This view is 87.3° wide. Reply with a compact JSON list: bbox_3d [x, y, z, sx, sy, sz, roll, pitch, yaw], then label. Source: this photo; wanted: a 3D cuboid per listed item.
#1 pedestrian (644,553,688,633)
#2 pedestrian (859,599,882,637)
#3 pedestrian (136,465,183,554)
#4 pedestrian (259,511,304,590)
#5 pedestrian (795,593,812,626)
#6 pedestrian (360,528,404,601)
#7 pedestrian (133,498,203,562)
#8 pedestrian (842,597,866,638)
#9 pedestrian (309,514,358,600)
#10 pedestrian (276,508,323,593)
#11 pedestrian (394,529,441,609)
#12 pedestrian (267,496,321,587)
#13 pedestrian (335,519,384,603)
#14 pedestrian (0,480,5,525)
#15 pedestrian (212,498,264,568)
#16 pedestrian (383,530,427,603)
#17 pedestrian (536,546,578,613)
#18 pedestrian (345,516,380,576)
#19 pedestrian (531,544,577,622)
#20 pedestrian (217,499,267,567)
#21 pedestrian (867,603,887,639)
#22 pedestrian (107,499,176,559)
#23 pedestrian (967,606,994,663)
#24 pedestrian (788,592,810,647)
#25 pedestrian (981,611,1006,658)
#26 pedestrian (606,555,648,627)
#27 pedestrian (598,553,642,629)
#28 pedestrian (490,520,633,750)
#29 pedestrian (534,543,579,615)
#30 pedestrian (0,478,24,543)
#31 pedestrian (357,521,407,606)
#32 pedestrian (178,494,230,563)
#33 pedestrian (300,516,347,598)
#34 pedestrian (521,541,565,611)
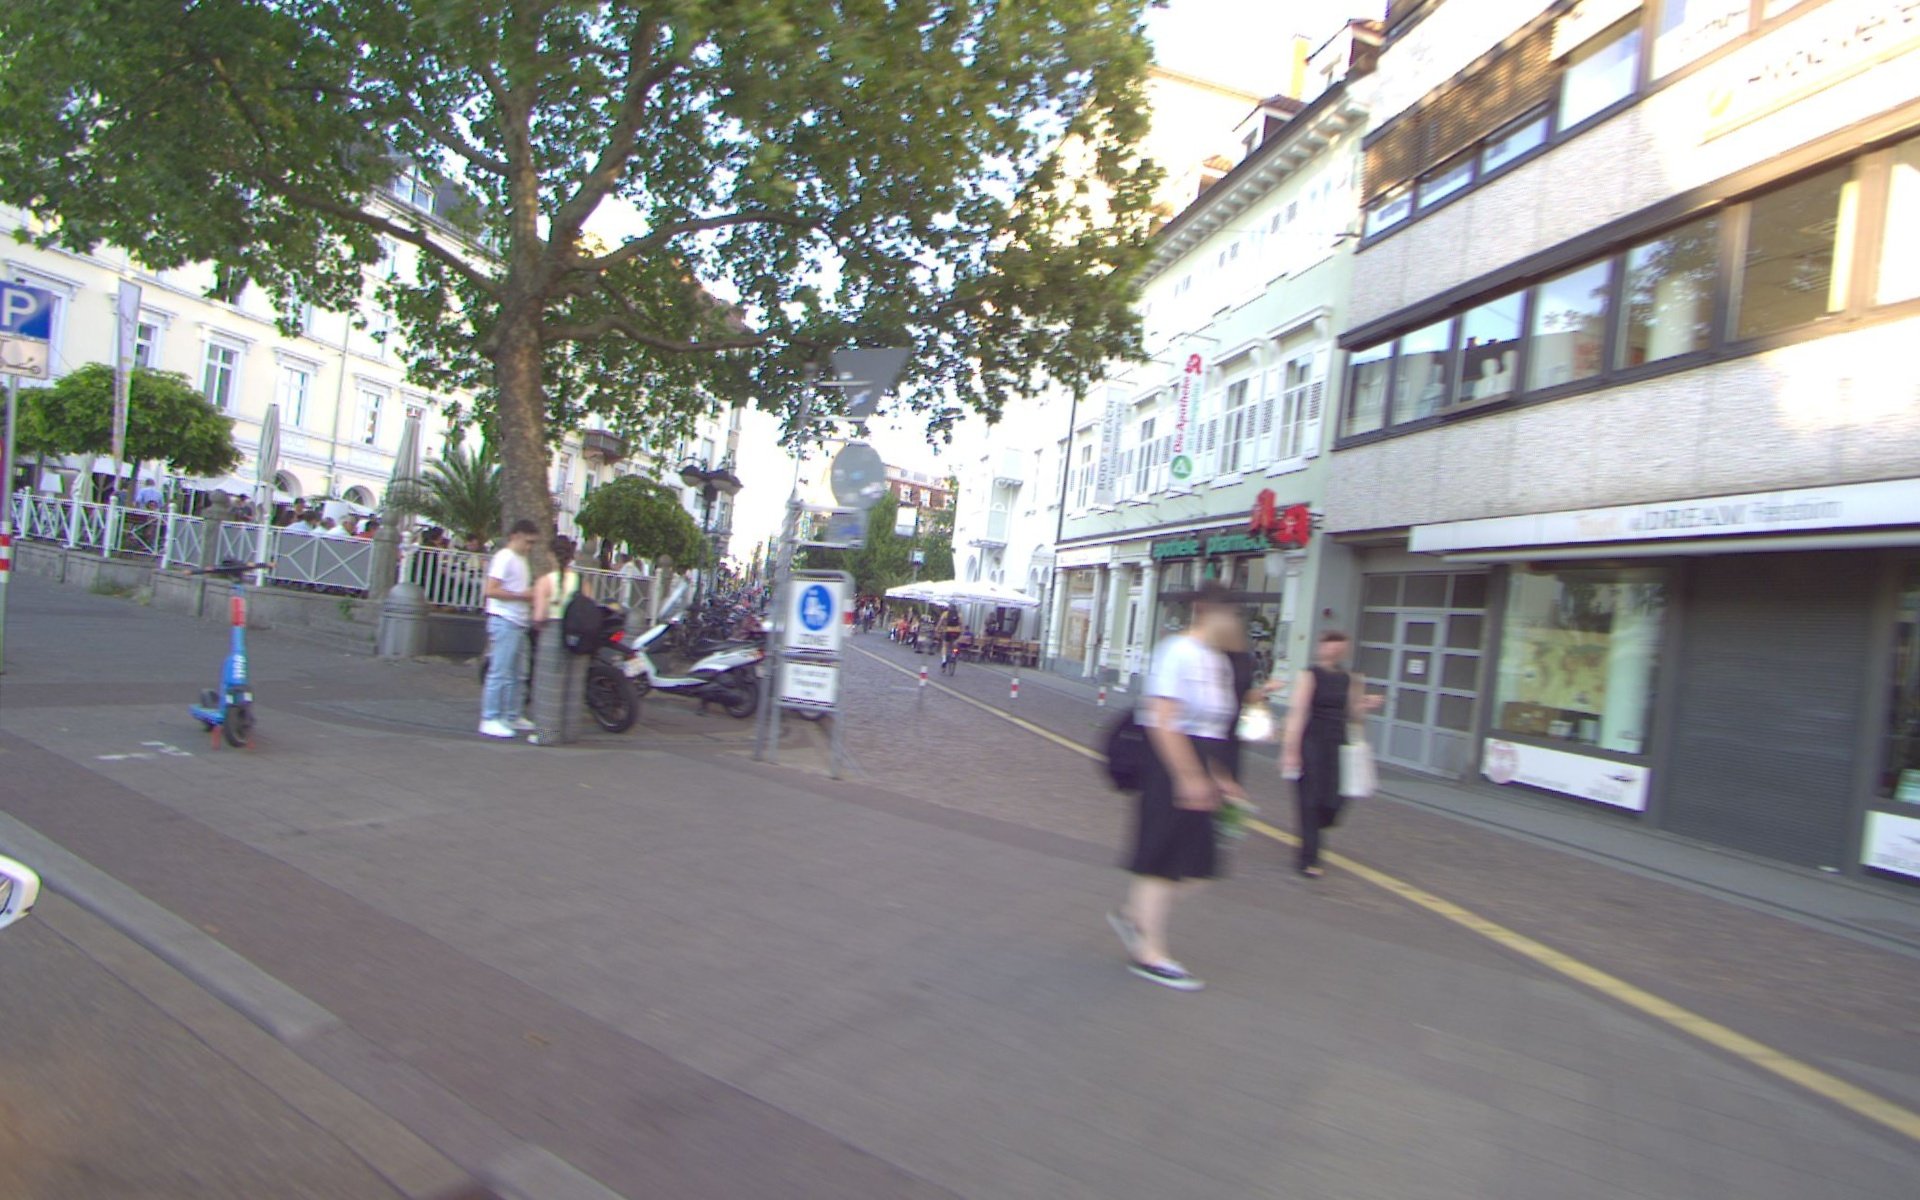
[{"bbox_3d":[-5.439,-0.137,18.620,0.472,1.416,0.534,6,-1,-42],"label":"pedestrian"},{"bbox_3d":[-4.564,0.908,51.310,0.743,1.831,0.756,6,-1,-33],"label":"pedestrian"},{"bbox_3d":[-22.113,-2.484,27.782,0.569,2.332,0.615,5,-1,10],"label":"pedestrian"},{"bbox_3d":[-11.845,-0.858,17.555,0.472,1.320,0.533,6,-1,-44],"label":"pedestrian"},{"bbox_3d":[-9.101,0.550,58.495,0.688,1.887,0.760,6,-1,-18],"label":"pedestrian"},{"bbox_3d":[-10.544,-0.645,18.348,0.472,1.256,0.533,6,-1,-44],"label":"pedestrian"},{"bbox_3d":[-18.628,-1.640,23.666,0.890,1.352,0.965,5,-1,31],"label":"pedestrian"},{"bbox_3d":[-5.127,0.849,48.774,0.752,1.853,0.670,5,-1,41],"label":"pedestrian"},{"bbox_3d":[-10.322,-0.702,16.574,0.472,1.346,0.533,6,-1,-44],"label":"pedestrian"},{"bbox_3d":[-11.323,-0.839,17.236,0.472,1.380,0.533,6,-1,-44],"label":"pedestrian"},{"bbox_3d":[-9.269,-0.527,17.196,0.472,1.300,0.533,6,-1,-44],"label":"pedestrian"},{"bbox_3d":[-12.364,-1.074,18.683,0.617,1.590,0.623,6,-1,-44],"label":"pedestrian"},{"bbox_3d":[-9.761,-0.626,16.348,0.472,1.300,0.533,6,-1,-44],"label":"pedestrian"},{"bbox_3d":[-21.694,-2.036,21.963,0.951,1.321,0.904,5,-1,31],"label":"pedestrian"},{"bbox_3d":[-18.258,-1.684,25.435,0.648,1.663,0.758,5,-1,32],"label":"pedestrian"},{"bbox_3d":[-9.978,-0.605,18.089,0.472,1.256,0.533,6,-1,-44],"label":"pedestrian"},{"bbox_3d":[-8.227,-0.408,20.545,0.469,1.300,0.537,5,-1,41],"label":"pedestrian"},{"bbox_3d":[-17.947,-1.617,30.216,0.567,1.732,0.512,5,-1,0],"label":"pedestrian"},{"bbox_3d":[-7.018,-0.295,17.400,0.472,1.300,0.534,6,-1,-42],"label":"pedestrian"},{"bbox_3d":[-18.956,-1.767,26.564,0.649,1.663,0.758,5,-1,34],"label":"pedestrian"},{"bbox_3d":[-4.129,1.028,50.045,0.586,1.720,0.607,5,-1,41],"label":"pedestrian"},{"bbox_3d":[-19.806,-1.717,24.346,0.890,1.282,0.965,5,-1,31],"label":"pedestrian"},{"bbox_3d":[0.694,1.161,33.677,0.564,1.808,0.624,5,-1,23],"label":"pedestrian"},{"bbox_3d":[-4.957,0.602,30.946,0.528,1.630,0.602,6,-1,-11],"label":"pedestrian"},{"bbox_3d":[1.205,1.253,36.457,0.750,1.615,0.617,5,-1,1],"label":"pedestrian"},{"bbox_3d":[-6.298,-0.164,19.036,0.472,1.300,0.534,6,-1,-42],"label":"pedestrian"},{"bbox_3d":[-6.130,-0.167,18.133,0.472,1.300,0.534,6,-1,-42],"label":"pedestrian"},{"bbox_3d":[-3.198,0.281,8.088,0.644,1.738,0.679,5,-1,34],"label":"pedestrian"},{"bbox_3d":[-7.721,-0.404,19.238,0.469,1.300,0.537,5,-1,41],"label":"pedestrian"},{"bbox_3d":[-20.756,-1.958,21.403,0.951,1.329,0.904,5,-1,31],"label":"pedestrian"},{"bbox_3d":[-9.222,-0.581,16.055,0.472,1.300,0.533,6,-1,-44],"label":"pedestrian"},{"bbox_3d":[-19.411,-1.832,25.839,0.649,1.663,0.758,5,-1,33],"label":"pedestrian"},{"bbox_3d":[-10.745,-0.722,16.978,0.472,1.300,0.533,6,-1,-44],"label":"pedestrian"},{"bbox_3d":[-8.118,-0.465,19.574,0.469,1.300,0.537,5,-1,41],"label":"pedestrian"}]
